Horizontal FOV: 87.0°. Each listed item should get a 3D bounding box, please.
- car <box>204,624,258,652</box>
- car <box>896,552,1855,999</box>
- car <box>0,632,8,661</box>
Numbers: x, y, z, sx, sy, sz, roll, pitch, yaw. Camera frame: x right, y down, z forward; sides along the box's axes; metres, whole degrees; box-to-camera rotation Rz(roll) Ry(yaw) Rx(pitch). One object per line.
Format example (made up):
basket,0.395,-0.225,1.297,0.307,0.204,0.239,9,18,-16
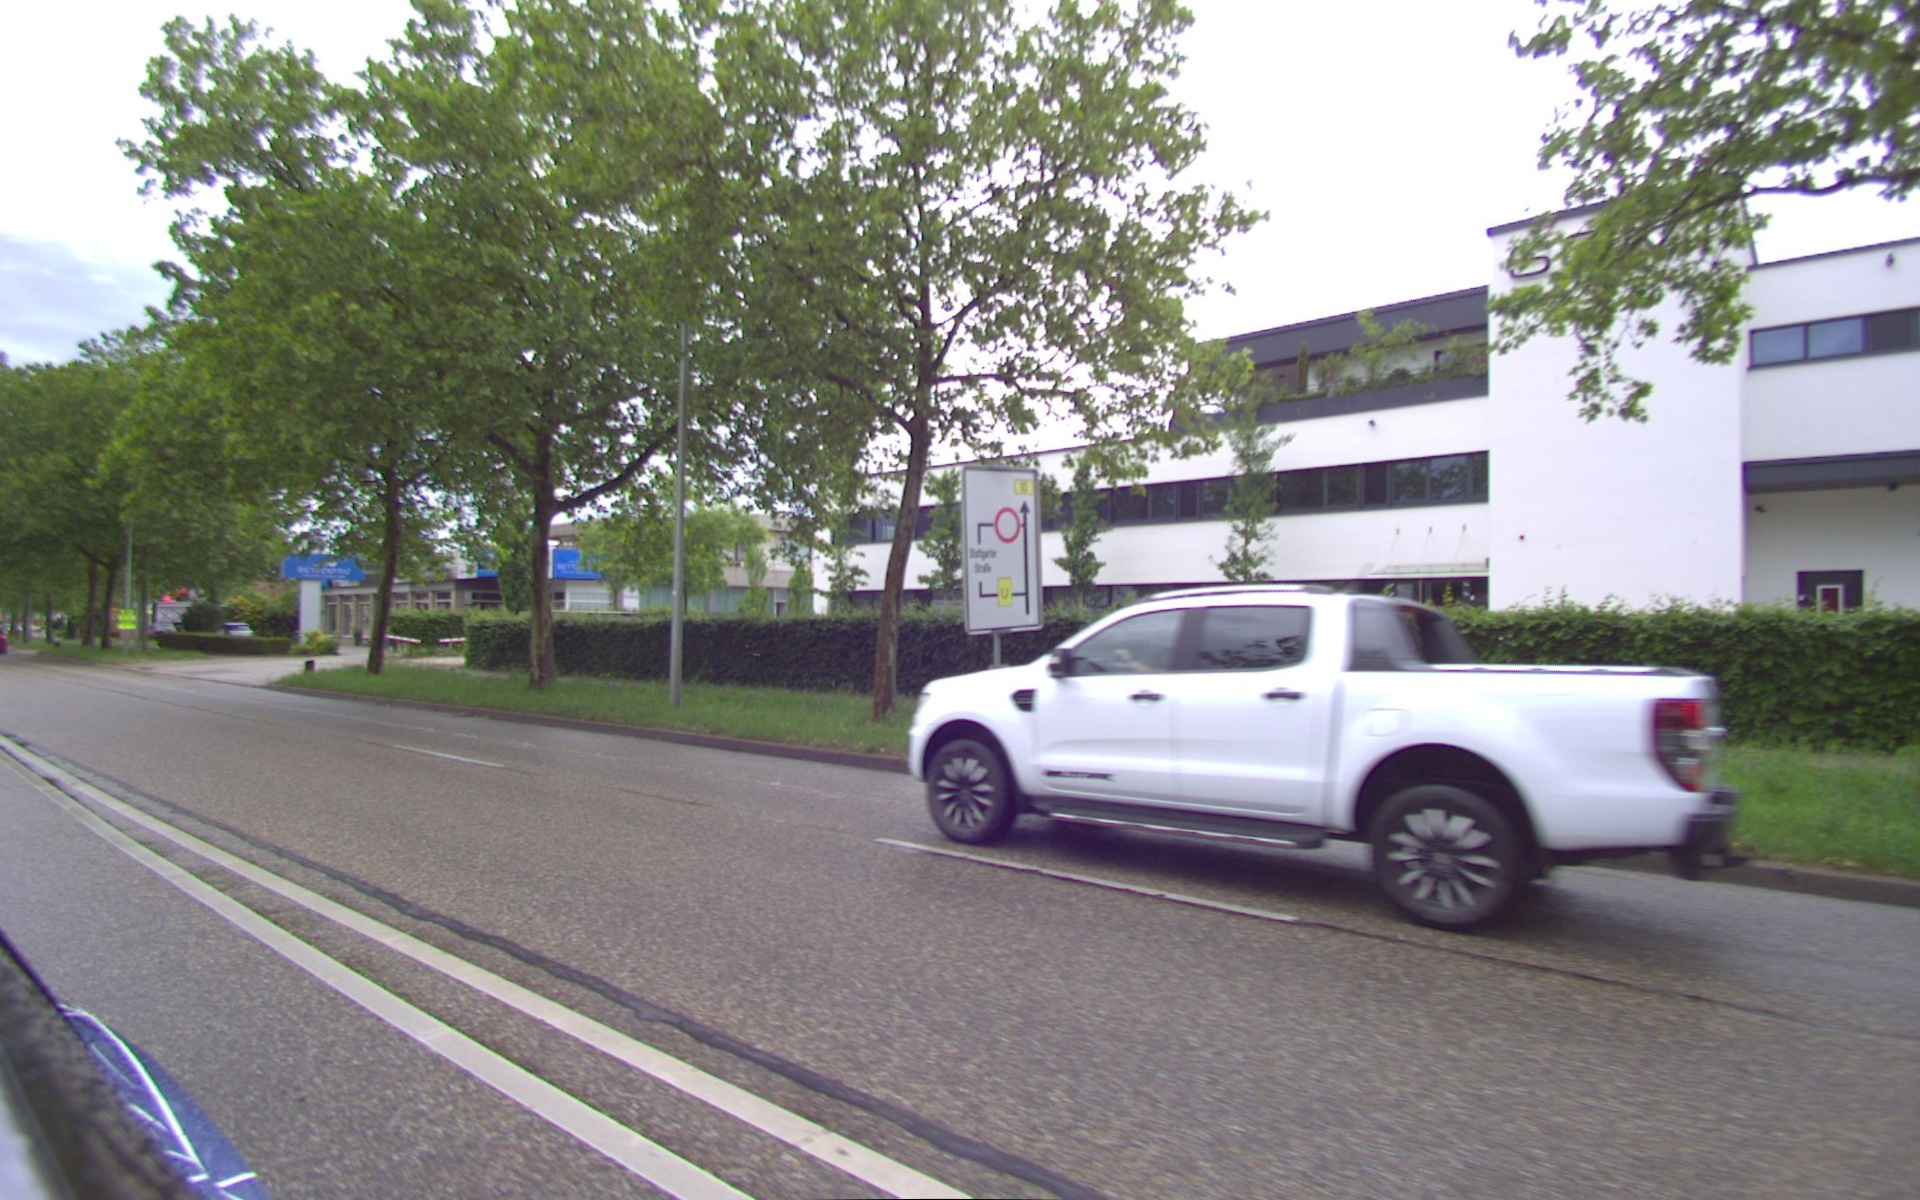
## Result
car,-43.037,2.233,59.693,3.999,1.545,1.723,-1,-4,42
car,2.181,0.805,6.589,5.336,1.819,1.892,-1,-4,40
car,-54.719,2.556,56.729,4.001,1.545,1.722,-1,-4,44
